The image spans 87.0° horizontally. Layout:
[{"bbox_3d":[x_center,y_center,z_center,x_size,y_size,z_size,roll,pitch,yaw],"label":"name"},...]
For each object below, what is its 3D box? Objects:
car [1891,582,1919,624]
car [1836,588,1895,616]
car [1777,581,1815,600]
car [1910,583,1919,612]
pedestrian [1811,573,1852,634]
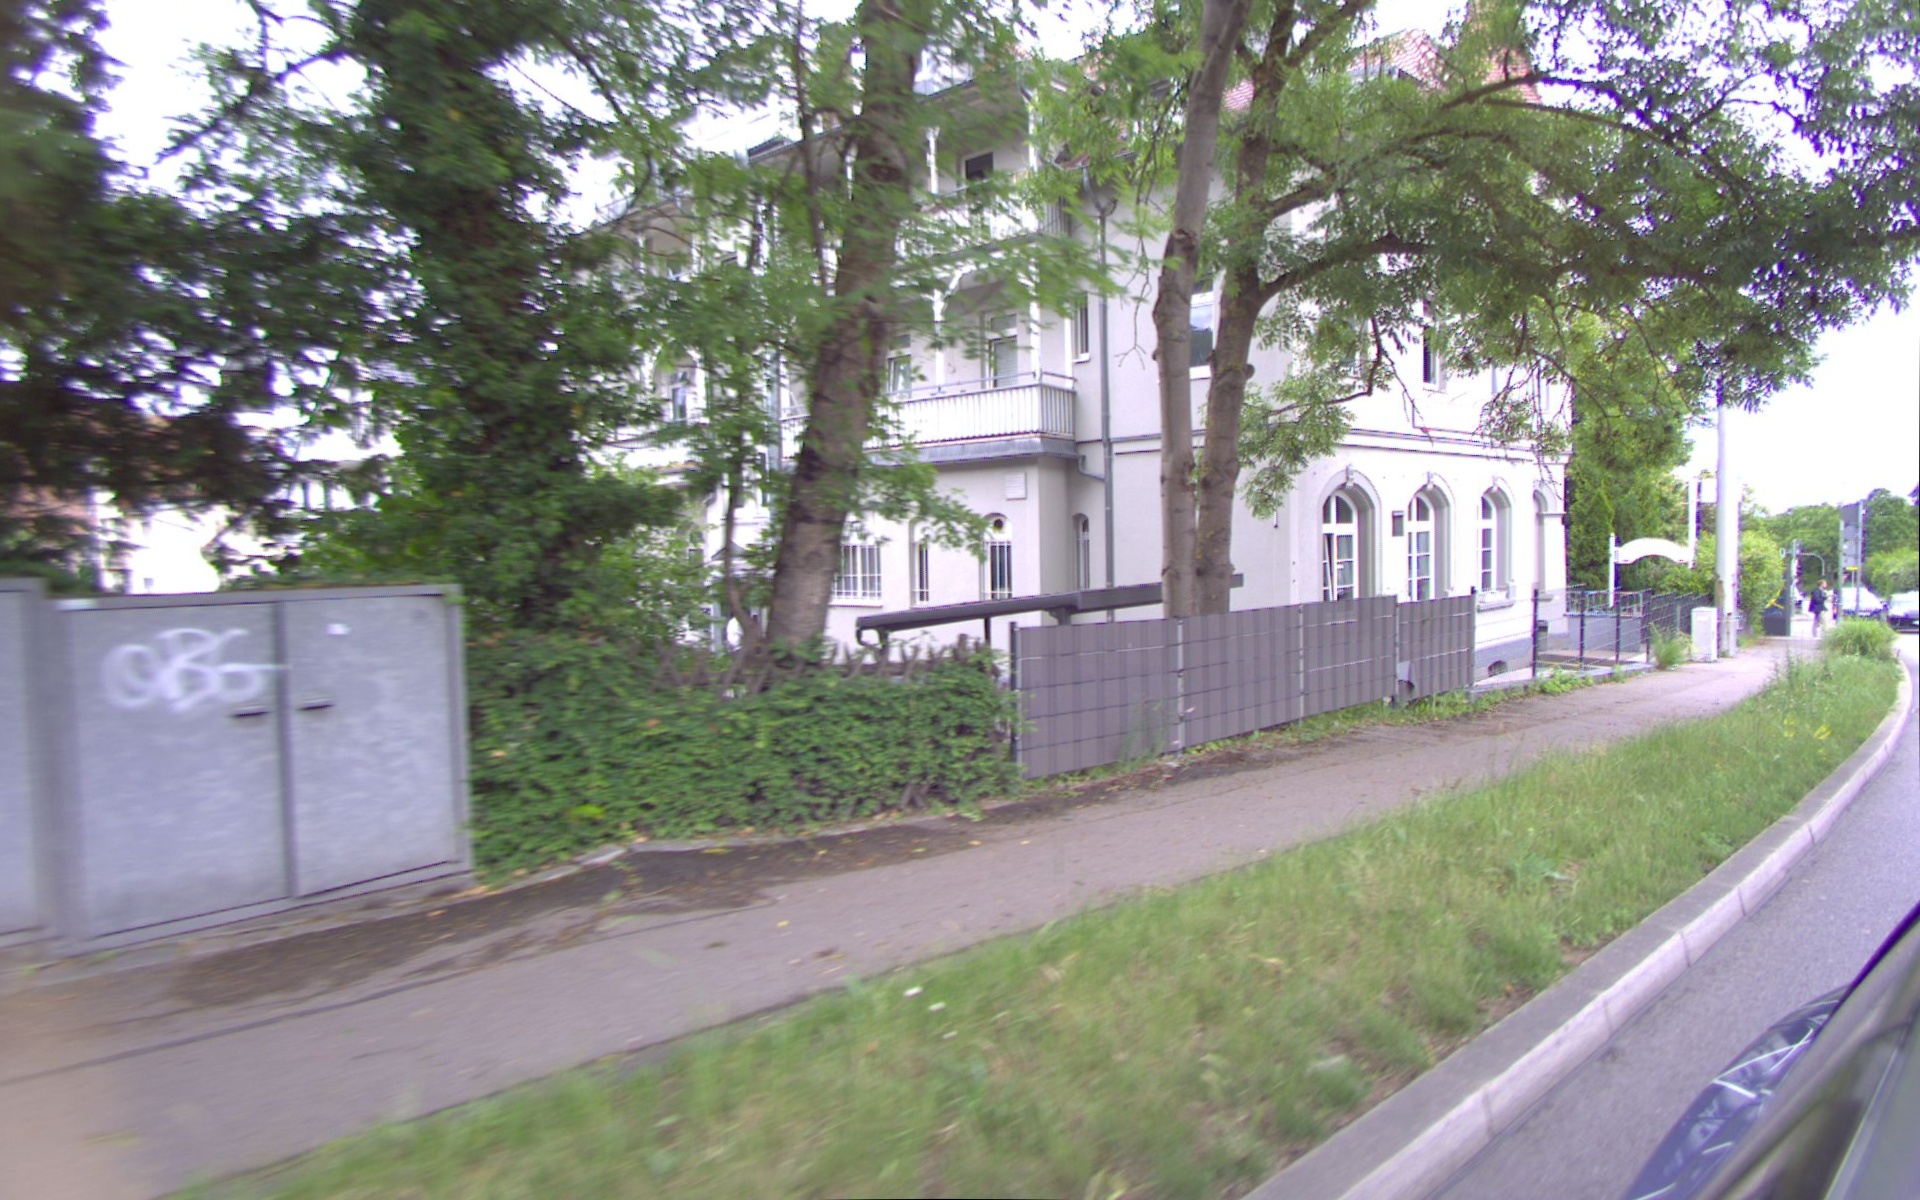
[{"bbox_3d":[37.674,0.110,39.484,1.671,1.560,4.550,2,2,39],"label":"car"},{"bbox_3d":[48.042,0.066,53.763,1.797,1.411,4.230,1,1,35],"label":"car"},{"bbox_3d":[63.813,-0.739,77.311,1.796,1.411,4.232,1,1,34],"label":"car"},{"bbox_3d":[51.271,-0.106,52.777,1.667,1.560,4.561,1,2,33],"label":"car"},{"bbox_3d":[26.708,0.107,31.017,0.682,1.857,0.619,-1,0,2],"label":"pedestrian"}]
